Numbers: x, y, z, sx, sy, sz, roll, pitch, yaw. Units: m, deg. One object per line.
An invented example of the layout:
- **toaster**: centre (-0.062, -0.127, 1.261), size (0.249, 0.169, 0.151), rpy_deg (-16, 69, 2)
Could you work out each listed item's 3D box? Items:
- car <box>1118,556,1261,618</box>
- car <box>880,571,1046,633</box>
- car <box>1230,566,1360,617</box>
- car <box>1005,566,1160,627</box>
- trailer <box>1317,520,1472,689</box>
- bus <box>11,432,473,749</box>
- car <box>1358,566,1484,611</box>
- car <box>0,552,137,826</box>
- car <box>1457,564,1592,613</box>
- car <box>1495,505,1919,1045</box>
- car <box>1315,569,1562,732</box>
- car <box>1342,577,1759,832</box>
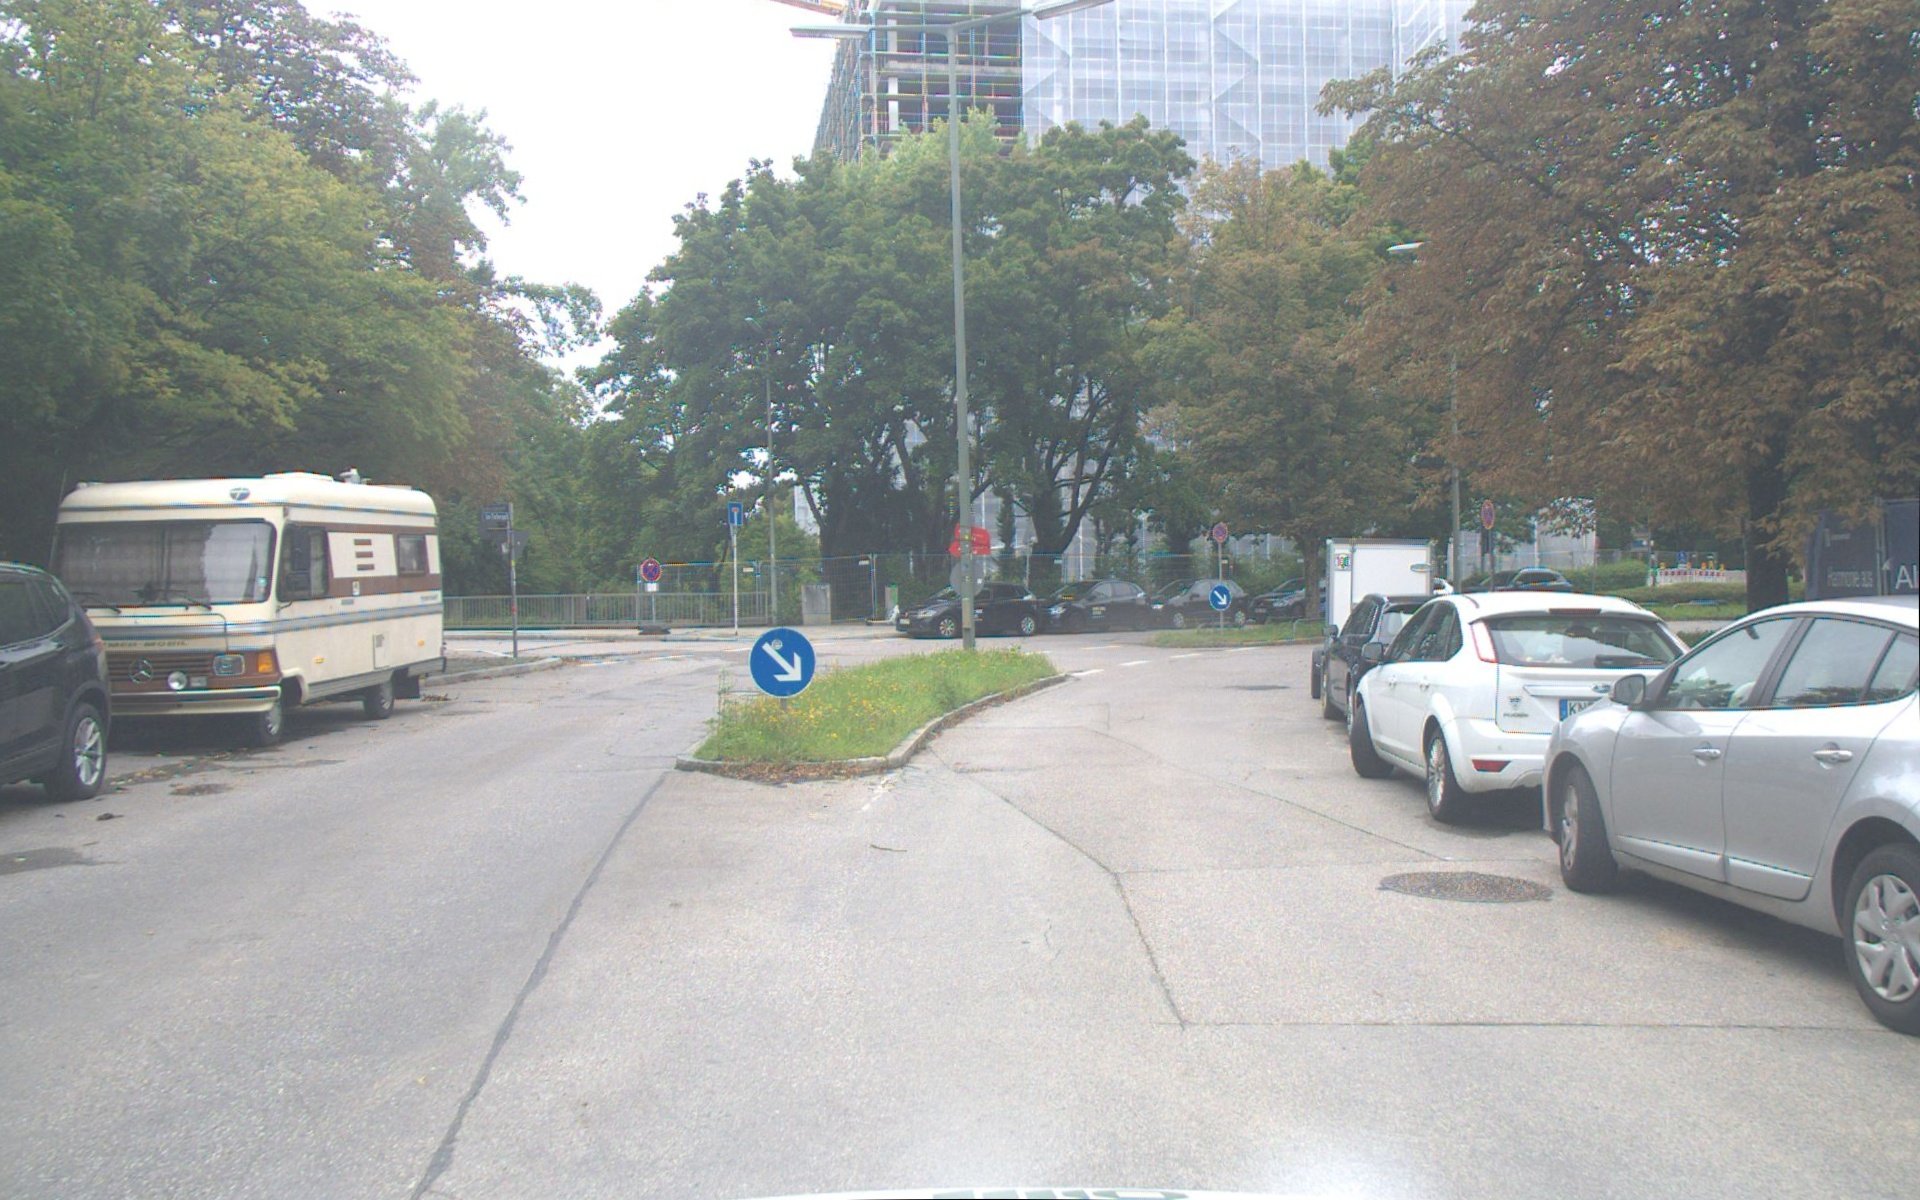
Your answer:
- **car**: centre (6.832, -0.392, 49.098), size (3.956, 1.735, 1.975), rpy_deg (-2, 0, -36)
- **car**: centre (0.099, 0.006, 43.498), size (3.997, 1.457, 1.975), rpy_deg (-2, 3, -36)
- **car**: centre (10.528, -0.264, 51.927), size (3.962, 1.486, 1.817), rpy_deg (-2, 0, -36)
- **car**: centre (3.418, -0.120, 45.928), size (3.956, 1.568, 1.975), rpy_deg (-2, 1, -36)
- **trailer**: centre (6.060, 0.039, 22.730), size (1.771, 2.049, 4.837), rpy_deg (-1, 0, 18)
- **bus**: centre (-7.188, -0.129, 17.483), size (2.267, 2.746, 5.735), rpy_deg (-1, 1, 0)
- **car**: centre (15.357, -0.392, 55.032), size (4.167, 1.408, 1.781), rpy_deg (-2, 0, -34)
- **car**: centre (-6.767, 0.566, 10.036), size (1.742, 1.678, 4.453), rpy_deg (-1, 1, -7)
- **car**: centre (19.379, -0.365, 56.738), size (4.326, 1.634, 1.877), rpy_deg (0, 0, -25)
- **car**: centre (4.033, 0.560, 6.982), size (1.954, 1.758, 4.447), rpy_deg (0, 0, -3)
- **car**: centre (4.937, 0.438, 17.640), size (1.832, 1.462, 4.332), rpy_deg (-2, 1, 7)
- **car**: centre (4.077, 0.610, 12.168), size (1.730, 1.512, 4.223), rpy_deg (-1, 1, 3)
